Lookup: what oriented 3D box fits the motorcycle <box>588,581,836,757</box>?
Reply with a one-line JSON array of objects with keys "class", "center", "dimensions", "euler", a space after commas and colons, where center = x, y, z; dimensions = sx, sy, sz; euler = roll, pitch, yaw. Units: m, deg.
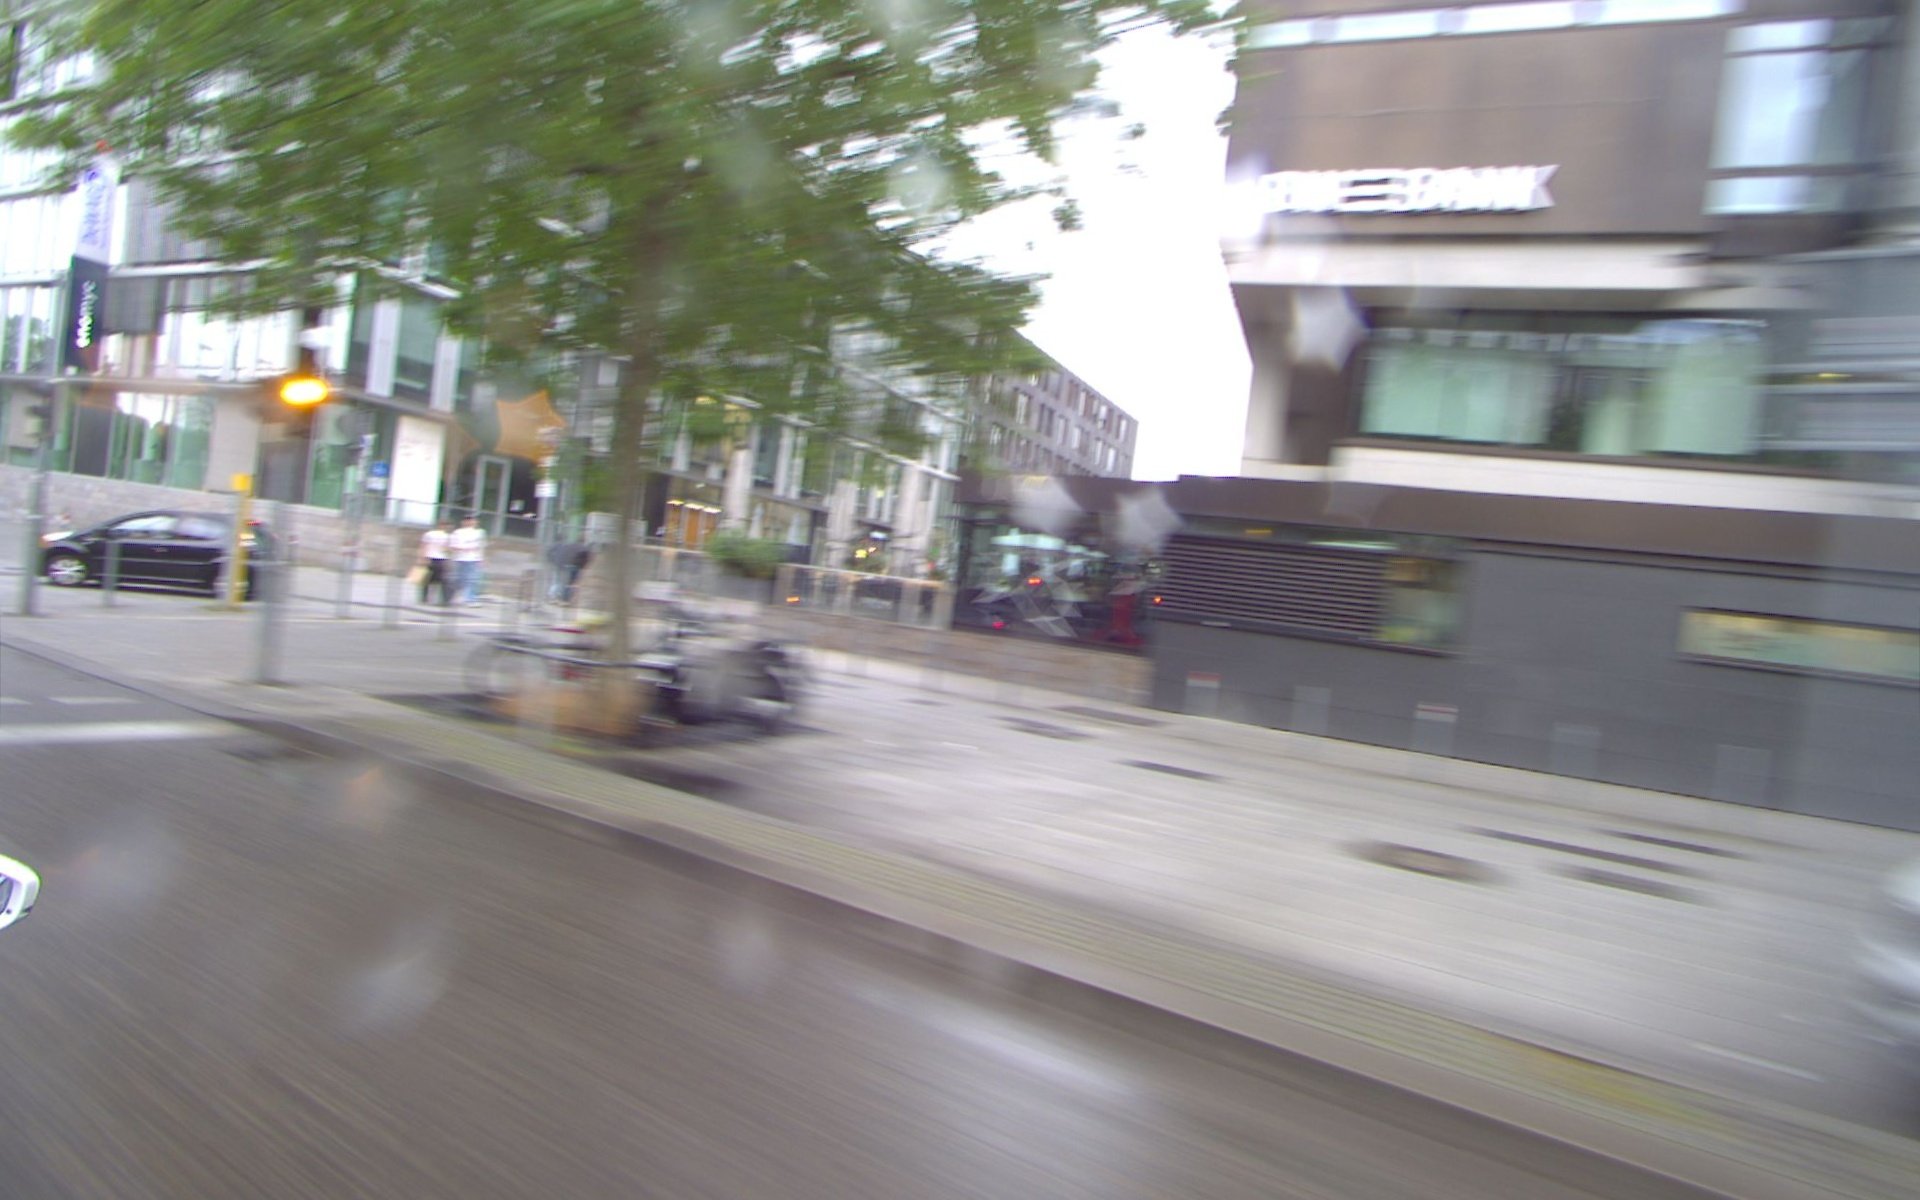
[{"class": "motorcycle", "center": [-2.170, 0.643, 9.104], "dimensions": [0.667, 1.374, 2.082], "euler": [7, 0, 38]}]

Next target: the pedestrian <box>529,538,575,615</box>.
[{"class": "pedestrian", "center": [-9.799, -0.571, 24.162], "dimensions": [0.772, 1.746, 0.639], "euler": [7, 0, -30]}]

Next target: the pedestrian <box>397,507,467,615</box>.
[{"class": "pedestrian", "center": [-10.811, -0.787, 20.601], "dimensions": [0.742, 2.064, 0.849], "euler": [7, 0, 38]}]

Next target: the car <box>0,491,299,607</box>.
[{"class": "car", "center": [-13.928, -0.834, 17.384], "dimensions": [3.780, 1.434, 1.628], "euler": [7, 0, -20]}]

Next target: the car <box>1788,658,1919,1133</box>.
[{"class": "car", "center": [5.841, 1.386, 4.246], "dimensions": [4.751, 1.670, 1.902], "euler": [8, 0, -29]}]

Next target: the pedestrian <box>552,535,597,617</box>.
[{"class": "pedestrian", "center": [-9.152, -0.559, 23.908], "dimensions": [0.669, 1.845, 0.650], "euler": [7, 0, -5]}]

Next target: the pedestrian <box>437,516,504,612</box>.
[{"class": "pedestrian", "center": [-10.370, -0.755, 21.322], "dimensions": [0.885, 1.891, 0.800], "euler": [7, 0, 39]}]
